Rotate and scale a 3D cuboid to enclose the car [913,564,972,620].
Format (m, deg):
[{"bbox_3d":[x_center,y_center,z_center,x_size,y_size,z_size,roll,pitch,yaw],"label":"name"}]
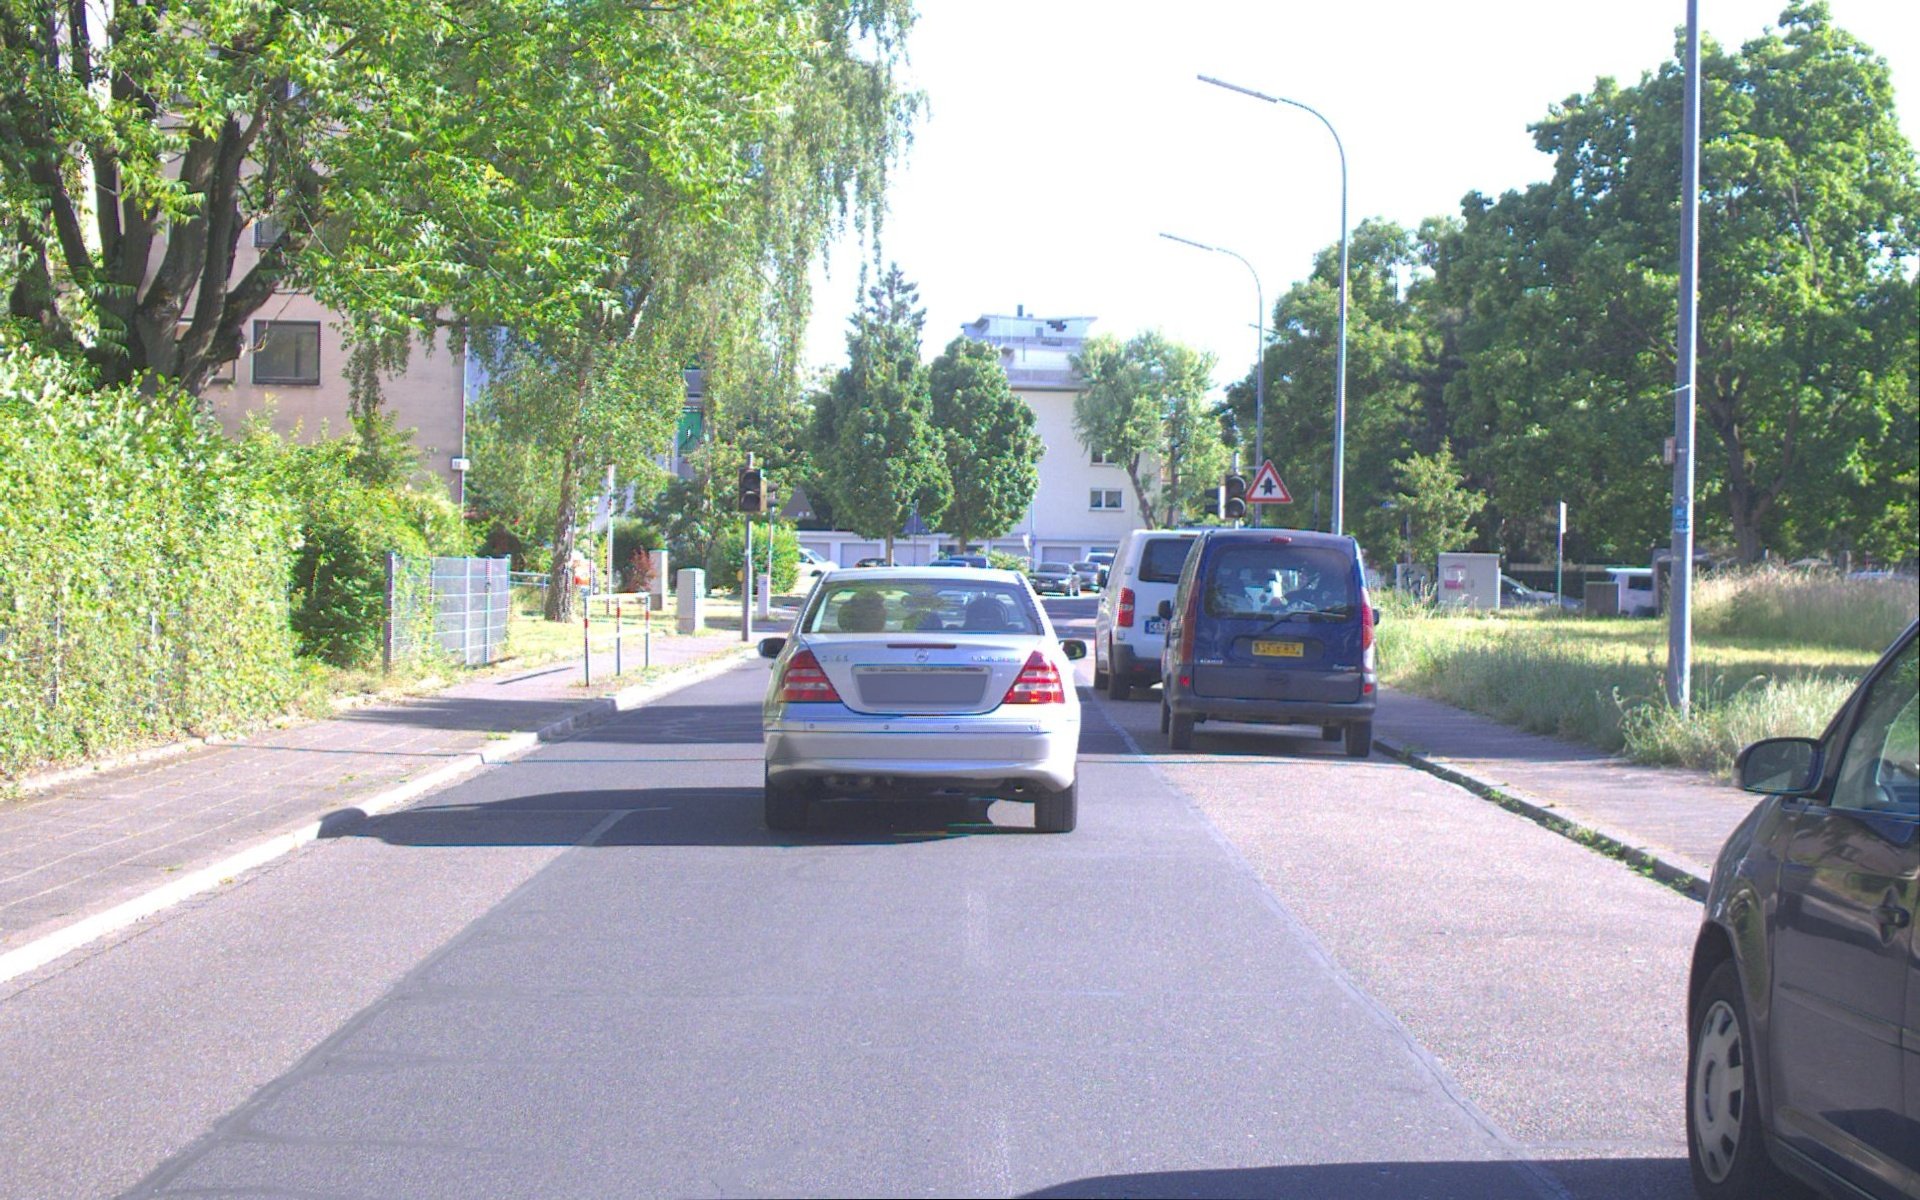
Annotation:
[{"bbox_3d":[-0.595,-0.247,113.618,1.884,1.722,4.000,1,-1,-1],"label":"car"}]

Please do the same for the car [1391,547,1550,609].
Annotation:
[{"bbox_3d":[12.676,-0.548,85.356,3.705,1.436,1.698,1,-2,15],"label":"car"}]

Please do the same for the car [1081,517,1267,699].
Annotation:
[{"bbox_3d":[2.353,0.053,38.586,1.698,1.845,3.851,3,1,-1],"label":"car"}]

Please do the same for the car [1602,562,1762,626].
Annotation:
[{"bbox_3d":[17.709,-0.149,84.287,3.705,1.466,1.698,1,-2,15],"label":"car"}]

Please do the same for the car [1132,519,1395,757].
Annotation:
[{"bbox_3d":[2.450,0.260,28.558,1.698,1.753,3.851,3,1,-1],"label":"car"}]

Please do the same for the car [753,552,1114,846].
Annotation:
[{"bbox_3d":[-0.215,0.471,19.624,1.816,1.458,4.361,-1,1,-2],"label":"car"}]

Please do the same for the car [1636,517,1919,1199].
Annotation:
[{"bbox_3d":[2.601,0.693,6.413,1.698,1.605,4.000,3,1,-2],"label":"car"}]
